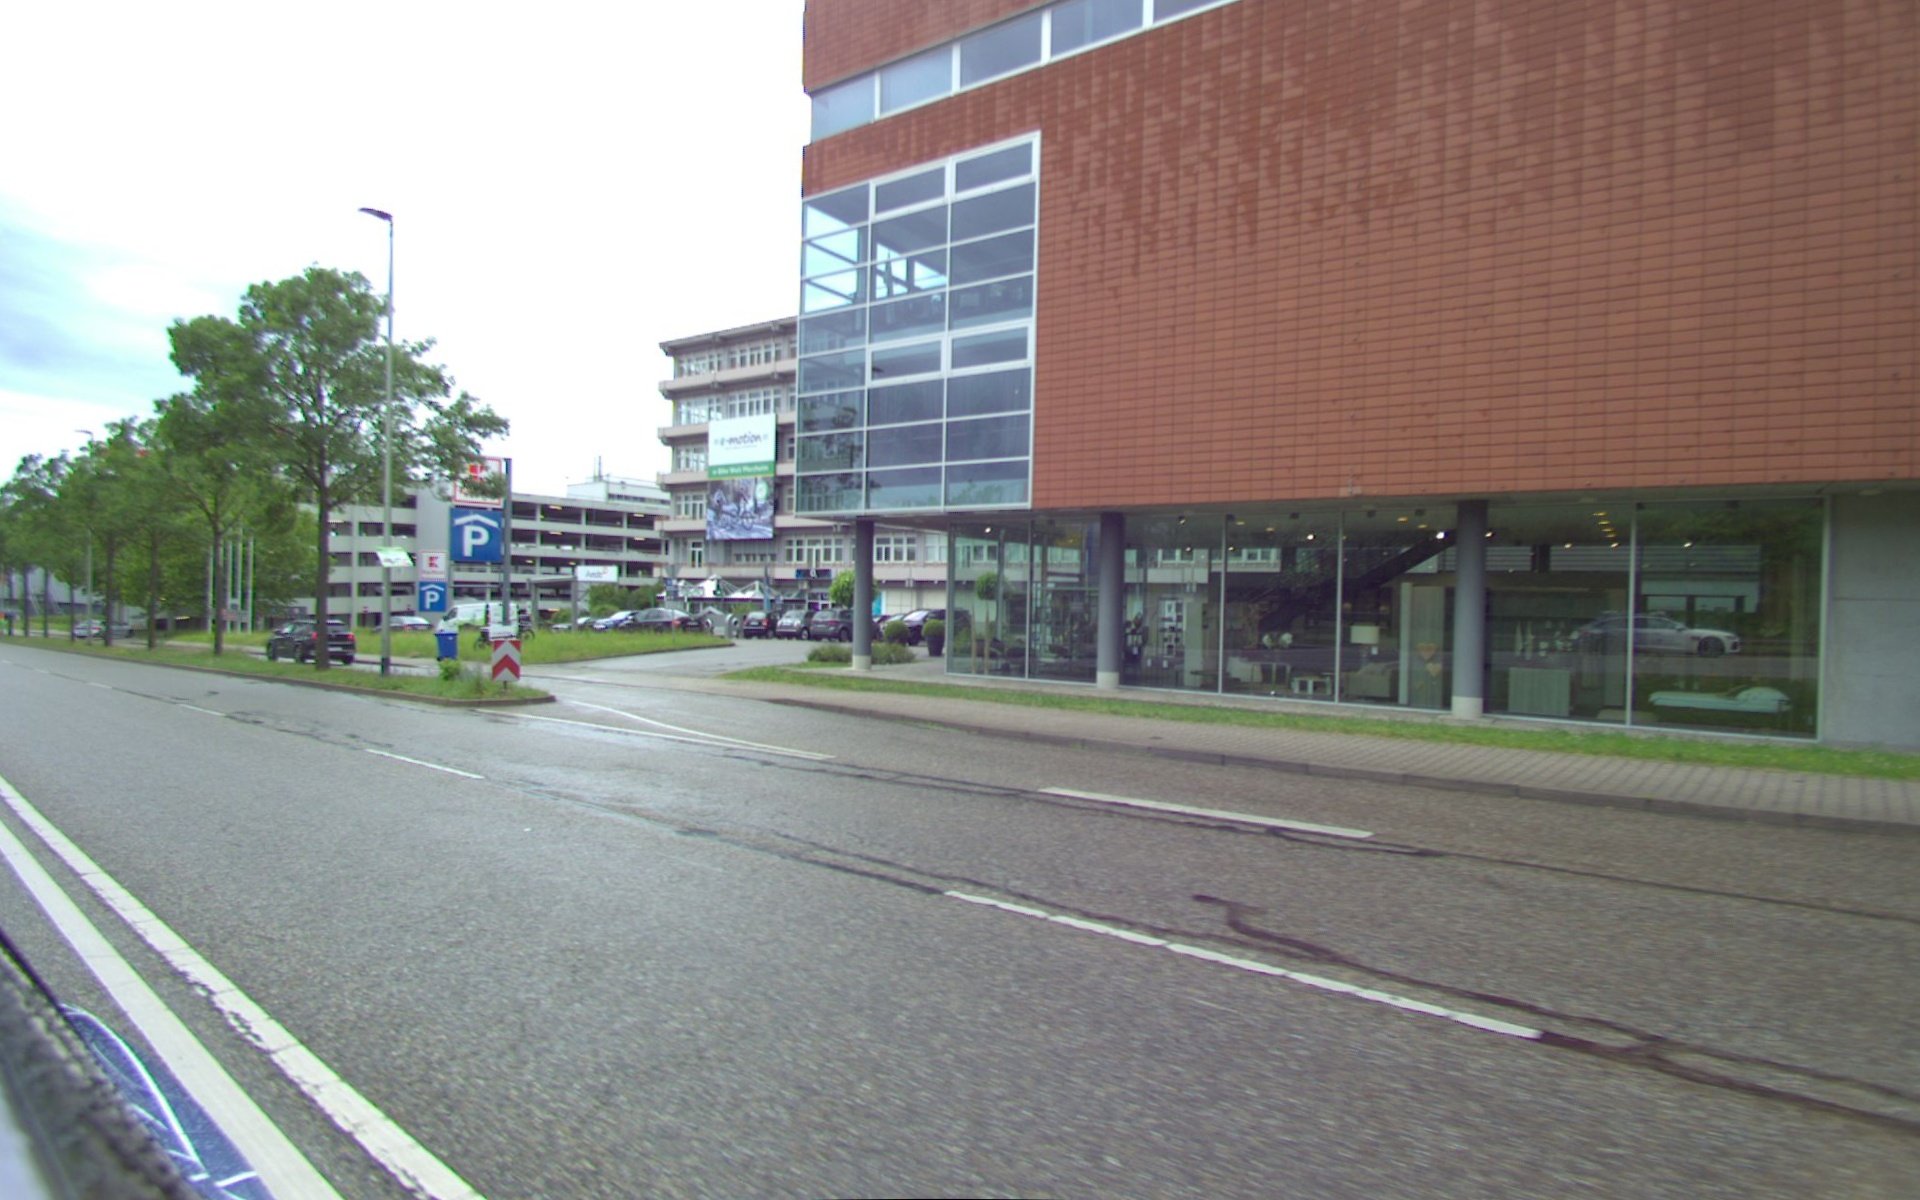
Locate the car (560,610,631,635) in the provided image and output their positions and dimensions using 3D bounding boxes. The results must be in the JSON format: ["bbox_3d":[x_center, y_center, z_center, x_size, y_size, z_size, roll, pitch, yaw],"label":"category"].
[{"bbox_3d":[-24.021,1.481,66.742,1.833,1.630,4.008,-1,-2,40],"label":"car"}]

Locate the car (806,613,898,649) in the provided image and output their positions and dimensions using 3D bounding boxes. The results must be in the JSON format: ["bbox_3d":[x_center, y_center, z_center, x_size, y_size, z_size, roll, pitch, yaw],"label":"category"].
[{"bbox_3d":[-5.043,1.452,47.868,1.832,1.630,4.382,-1,-2,38],"label":"car"}]

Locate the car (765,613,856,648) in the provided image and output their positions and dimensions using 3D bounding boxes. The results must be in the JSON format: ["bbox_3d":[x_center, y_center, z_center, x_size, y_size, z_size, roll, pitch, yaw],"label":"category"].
[{"bbox_3d":[-7.277,1.496,49.728,1.832,1.630,4.382,-1,-2,38],"label":"car"}]

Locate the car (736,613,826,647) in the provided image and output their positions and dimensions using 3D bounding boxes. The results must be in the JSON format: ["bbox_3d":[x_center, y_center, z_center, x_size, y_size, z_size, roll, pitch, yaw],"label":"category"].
[{"bbox_3d":[-9.012,1.507,51.167,1.832,1.630,4.382,-1,-2,38],"label":"car"}]

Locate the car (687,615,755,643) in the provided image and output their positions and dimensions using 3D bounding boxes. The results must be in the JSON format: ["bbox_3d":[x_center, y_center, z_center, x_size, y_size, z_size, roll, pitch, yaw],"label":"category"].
[{"bbox_3d":[-14.172,1.715,60.179,1.677,1.611,3.955,-1,-2,33],"label":"car"}]

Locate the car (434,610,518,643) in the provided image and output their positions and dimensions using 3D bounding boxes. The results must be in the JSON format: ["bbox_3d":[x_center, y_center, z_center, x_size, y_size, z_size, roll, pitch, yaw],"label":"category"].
[{"bbox_3d":[-24.437,1.325,51.017,4.426,1.630,1.813,-1,-2,33],"label":"car"}]

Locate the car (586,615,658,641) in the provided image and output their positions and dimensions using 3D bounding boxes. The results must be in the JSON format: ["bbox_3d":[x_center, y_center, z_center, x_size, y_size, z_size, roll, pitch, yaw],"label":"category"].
[{"bbox_3d":[-21.718,1.815,65.135,1.833,1.630,4.008,-1,-2,40],"label":"car"}]

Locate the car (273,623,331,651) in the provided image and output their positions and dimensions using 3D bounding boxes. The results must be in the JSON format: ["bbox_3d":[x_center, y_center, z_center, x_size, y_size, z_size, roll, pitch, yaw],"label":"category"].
[{"bbox_3d":[-40.625,2.255,62.476,4.057,1.630,1.811,-1,-2,38],"label":"car"}]

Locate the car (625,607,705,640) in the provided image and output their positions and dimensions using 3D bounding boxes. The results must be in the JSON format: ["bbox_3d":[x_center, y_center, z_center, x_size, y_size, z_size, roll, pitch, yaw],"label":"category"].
[{"bbox_3d":[-12.051,0.931,41.265,3.448,1.293,1.490,0,0,41],"label":"car"}]

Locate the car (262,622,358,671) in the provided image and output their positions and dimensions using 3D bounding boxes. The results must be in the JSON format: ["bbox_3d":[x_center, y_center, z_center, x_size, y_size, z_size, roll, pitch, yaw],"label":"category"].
[{"bbox_3d":[-23.599,1.651,36.686,3.997,1.630,1.810,-1,0,40],"label":"car"}]

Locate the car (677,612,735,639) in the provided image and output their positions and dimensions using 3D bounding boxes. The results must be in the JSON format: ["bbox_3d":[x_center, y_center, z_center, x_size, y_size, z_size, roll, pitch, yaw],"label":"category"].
[{"bbox_3d":[-13.817,1.397,54.913,3.497,1.433,1.420,-1,-2,44],"label":"car"}]

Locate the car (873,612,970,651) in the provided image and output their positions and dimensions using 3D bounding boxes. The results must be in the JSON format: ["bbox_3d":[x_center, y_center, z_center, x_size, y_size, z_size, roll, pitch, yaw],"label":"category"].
[{"bbox_3d":[-1.702,1.403,45.521,1.834,1.630,4.376,-1,-2,43],"label":"car"}]

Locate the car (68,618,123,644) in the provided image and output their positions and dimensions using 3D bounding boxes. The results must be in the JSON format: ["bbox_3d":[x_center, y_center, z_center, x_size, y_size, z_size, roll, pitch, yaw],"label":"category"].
[{"bbox_3d":[-64.116,2.314,75.119,1.819,1.864,4.013,0,-2,-20],"label":"car"}]
